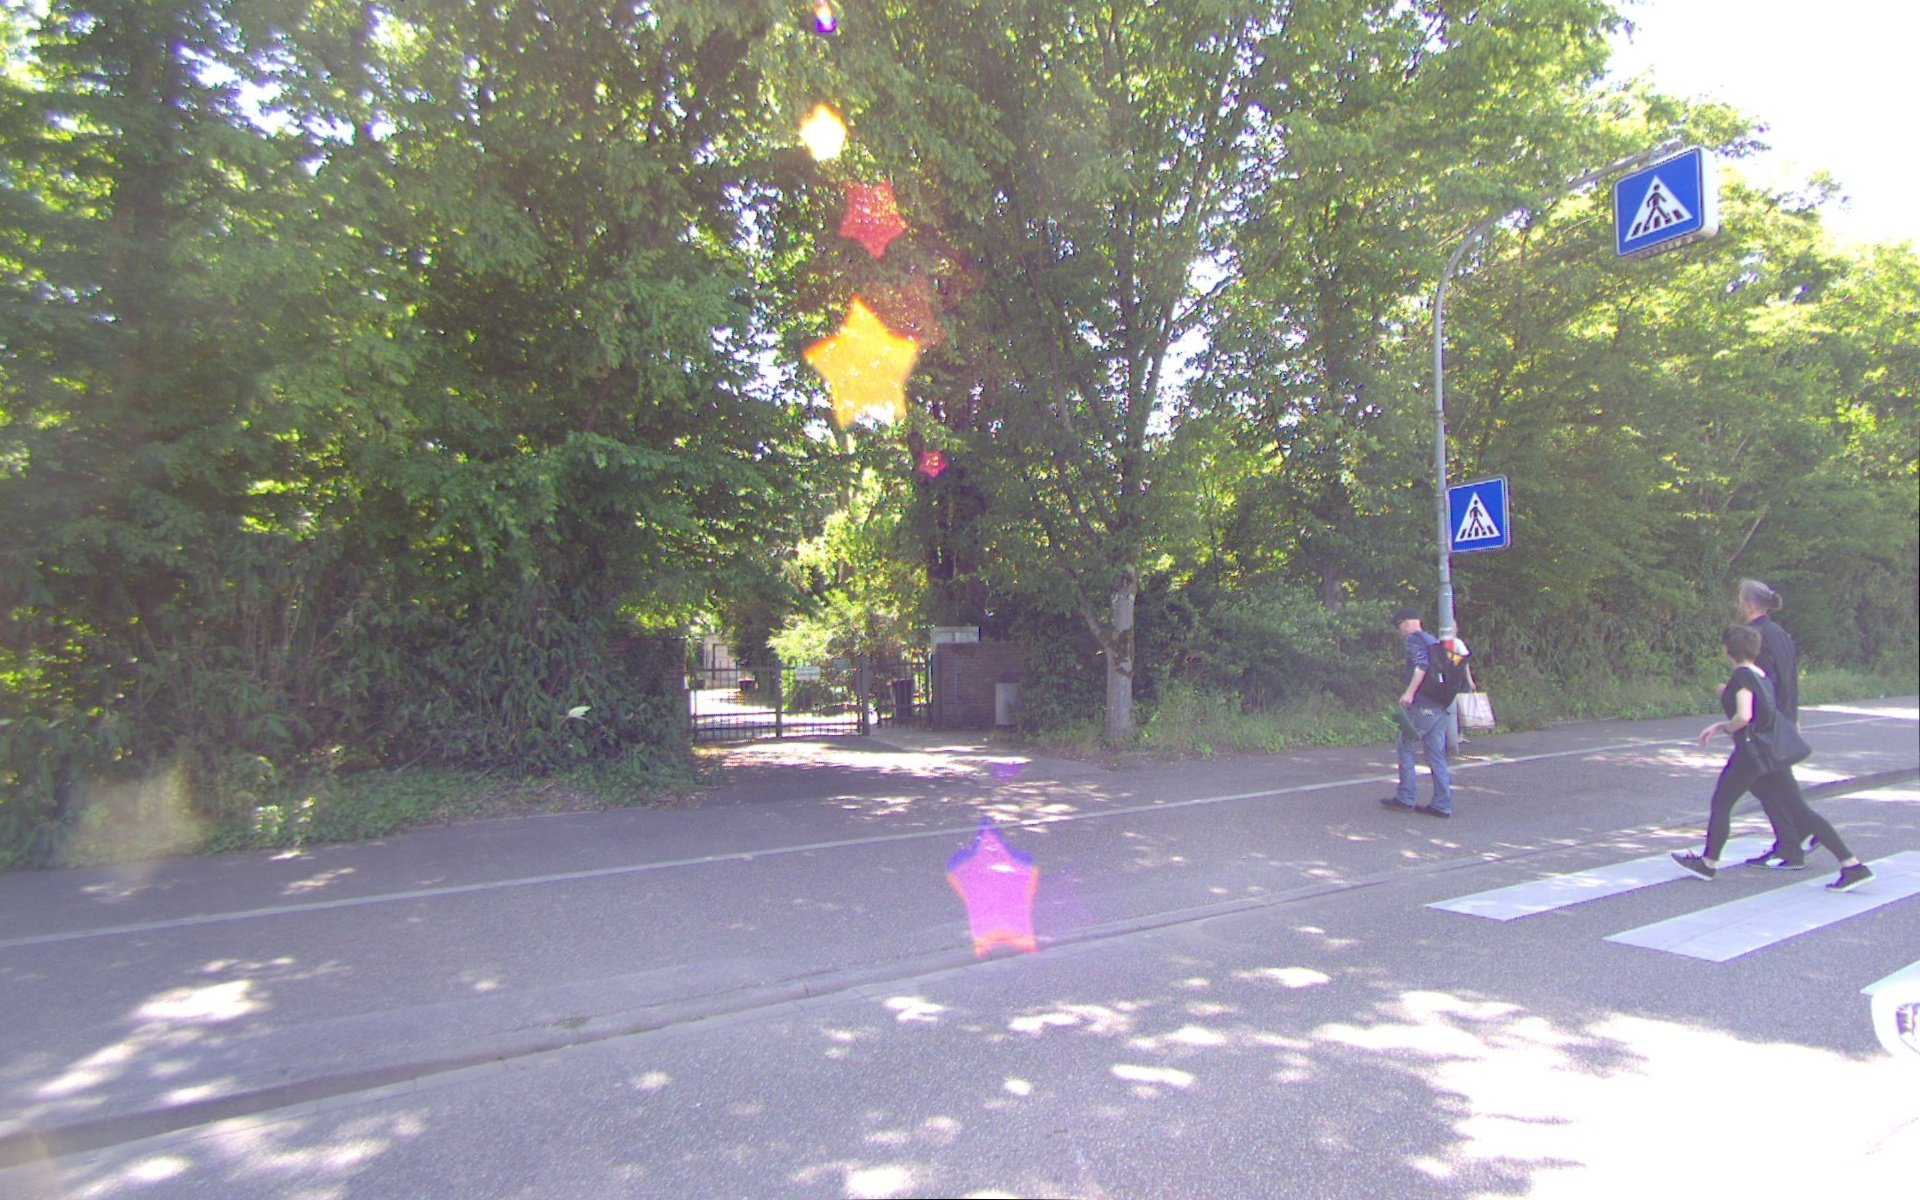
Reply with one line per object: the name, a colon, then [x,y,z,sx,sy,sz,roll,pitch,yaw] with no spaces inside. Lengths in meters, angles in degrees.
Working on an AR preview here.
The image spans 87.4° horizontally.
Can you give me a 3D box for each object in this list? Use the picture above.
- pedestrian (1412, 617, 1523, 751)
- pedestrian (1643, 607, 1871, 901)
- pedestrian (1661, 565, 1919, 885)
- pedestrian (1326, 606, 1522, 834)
pedestrian: [6.461,1.035,12.819,0.875,1.634,0.928,0,-1,-30]
pedestrian: [4.904,0.895,6.202,0.774,1.632,0.886,2,-5,-39]
pedestrian: [5.450,0.790,6.632,0.777,1.888,1.075,2,-6,-39]
pedestrian: [3.970,0.950,8.635,1.012,1.775,1.148,1,1,-33]
